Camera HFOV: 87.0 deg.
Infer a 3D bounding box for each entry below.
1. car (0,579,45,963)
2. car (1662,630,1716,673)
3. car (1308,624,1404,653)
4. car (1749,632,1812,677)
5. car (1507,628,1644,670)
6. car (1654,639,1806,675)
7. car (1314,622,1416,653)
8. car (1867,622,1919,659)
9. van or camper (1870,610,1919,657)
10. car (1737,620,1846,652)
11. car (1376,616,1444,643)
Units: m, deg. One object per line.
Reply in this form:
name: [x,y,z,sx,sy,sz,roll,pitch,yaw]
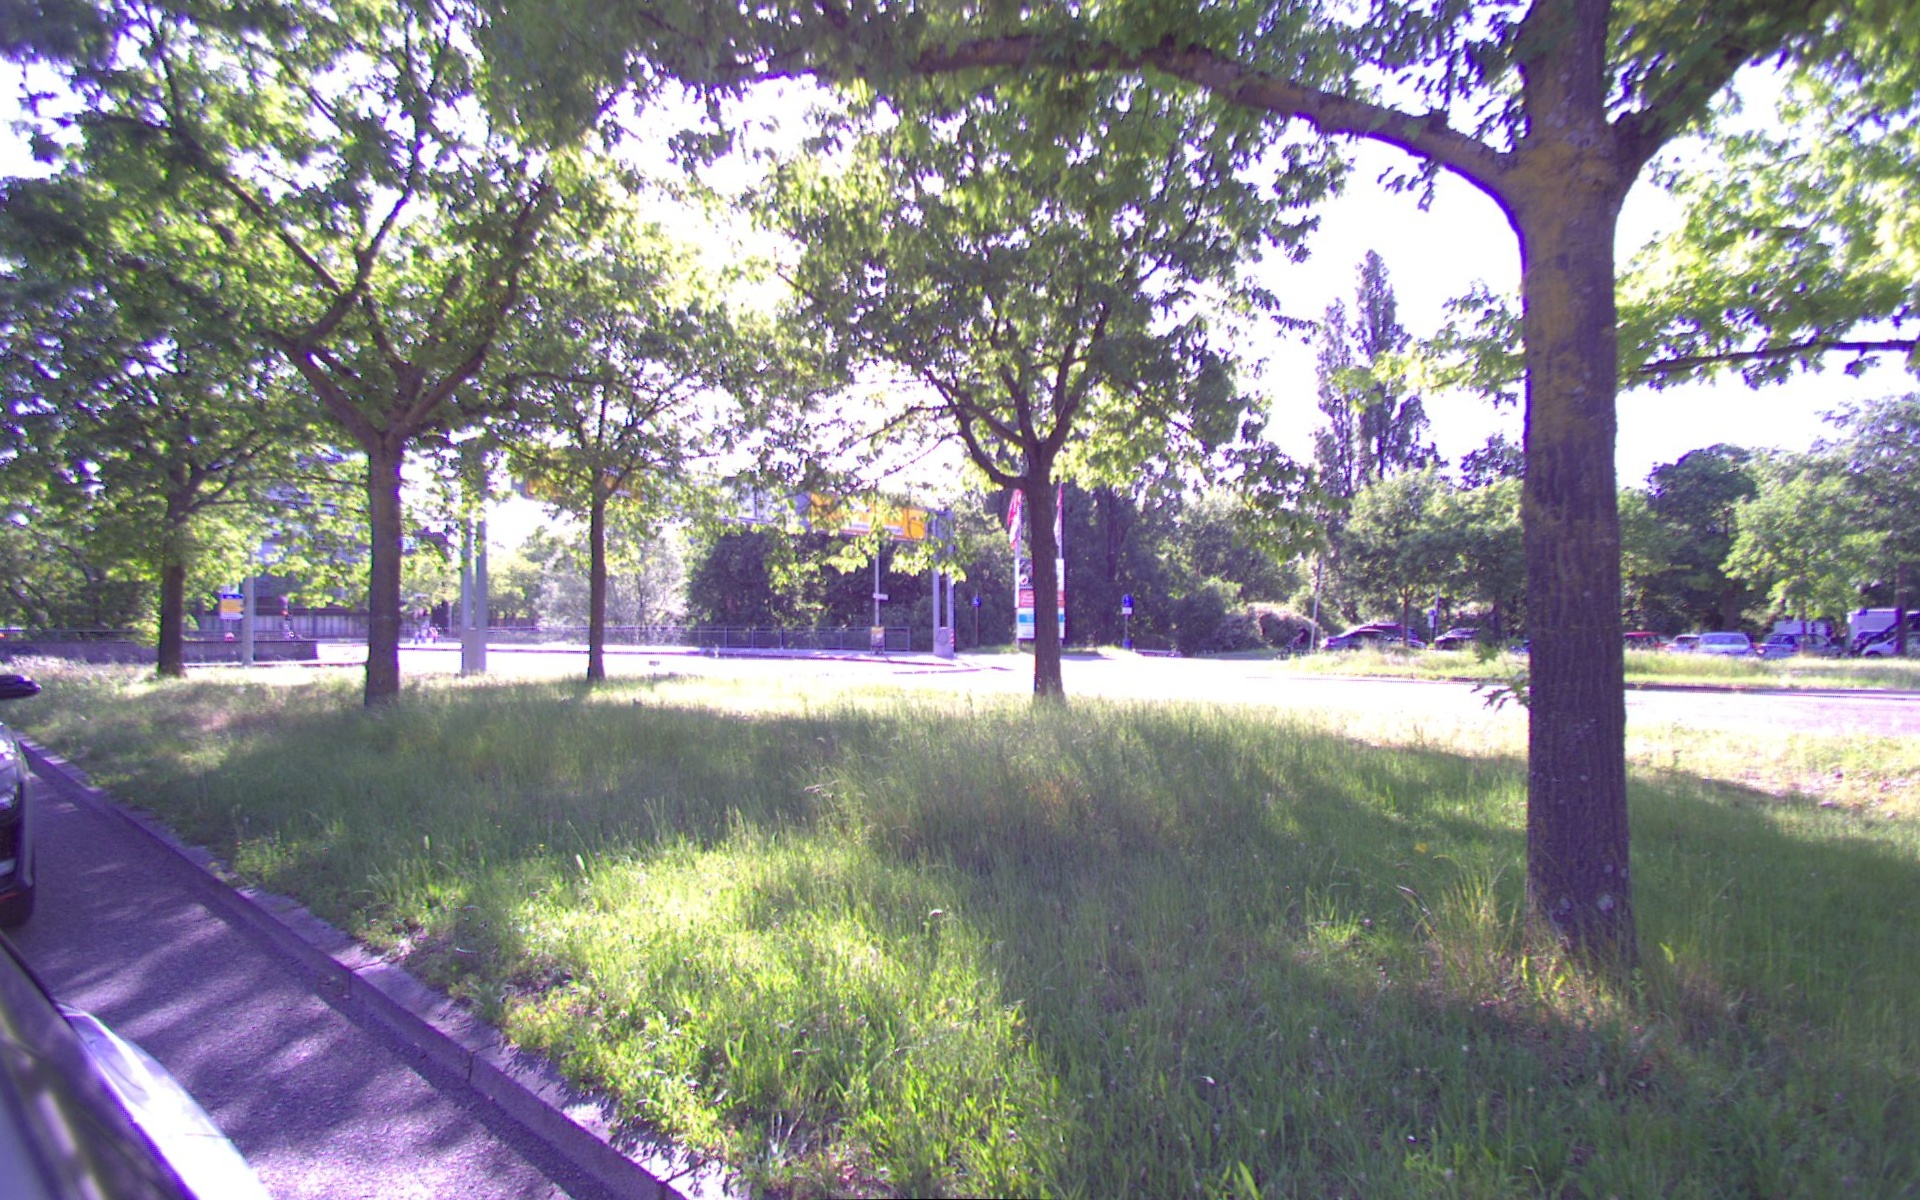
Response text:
car: [-5.896,0.722,4.873,3.978,1.563,1.757,-1,-2,41]
car: [32.499,2.260,45.083,1.653,1.618,3.834,-1,1,40]
car: [21.436,2.083,54.936,4.509,1.475,1.993,0,0,12]
car: [35.200,2.282,43.382,3.828,1.618,1.655,-3,1,-44]
car: [22.985,1.794,37.928,1.791,1.459,4.012,1,-2,-30]
car: [26.074,1.905,34.466,3.990,1.137,1.800,-1,-2,35]
car: [20.516,1.913,51.429,4.509,1.475,1.993,0,0,12]
car: [41.973,1.743,43.518,1.936,1.484,4.011,-2,0,-33]
van or camper: [43.826,1.483,45.122,1.966,2.112,4.414,1,-2,-32]
car: [42.327,1.828,51.566,1.969,1.521,4.005,1,-2,-41]
car: [31.904,2.095,71.826,4.126,1.814,1.976,-1,-2,35]
